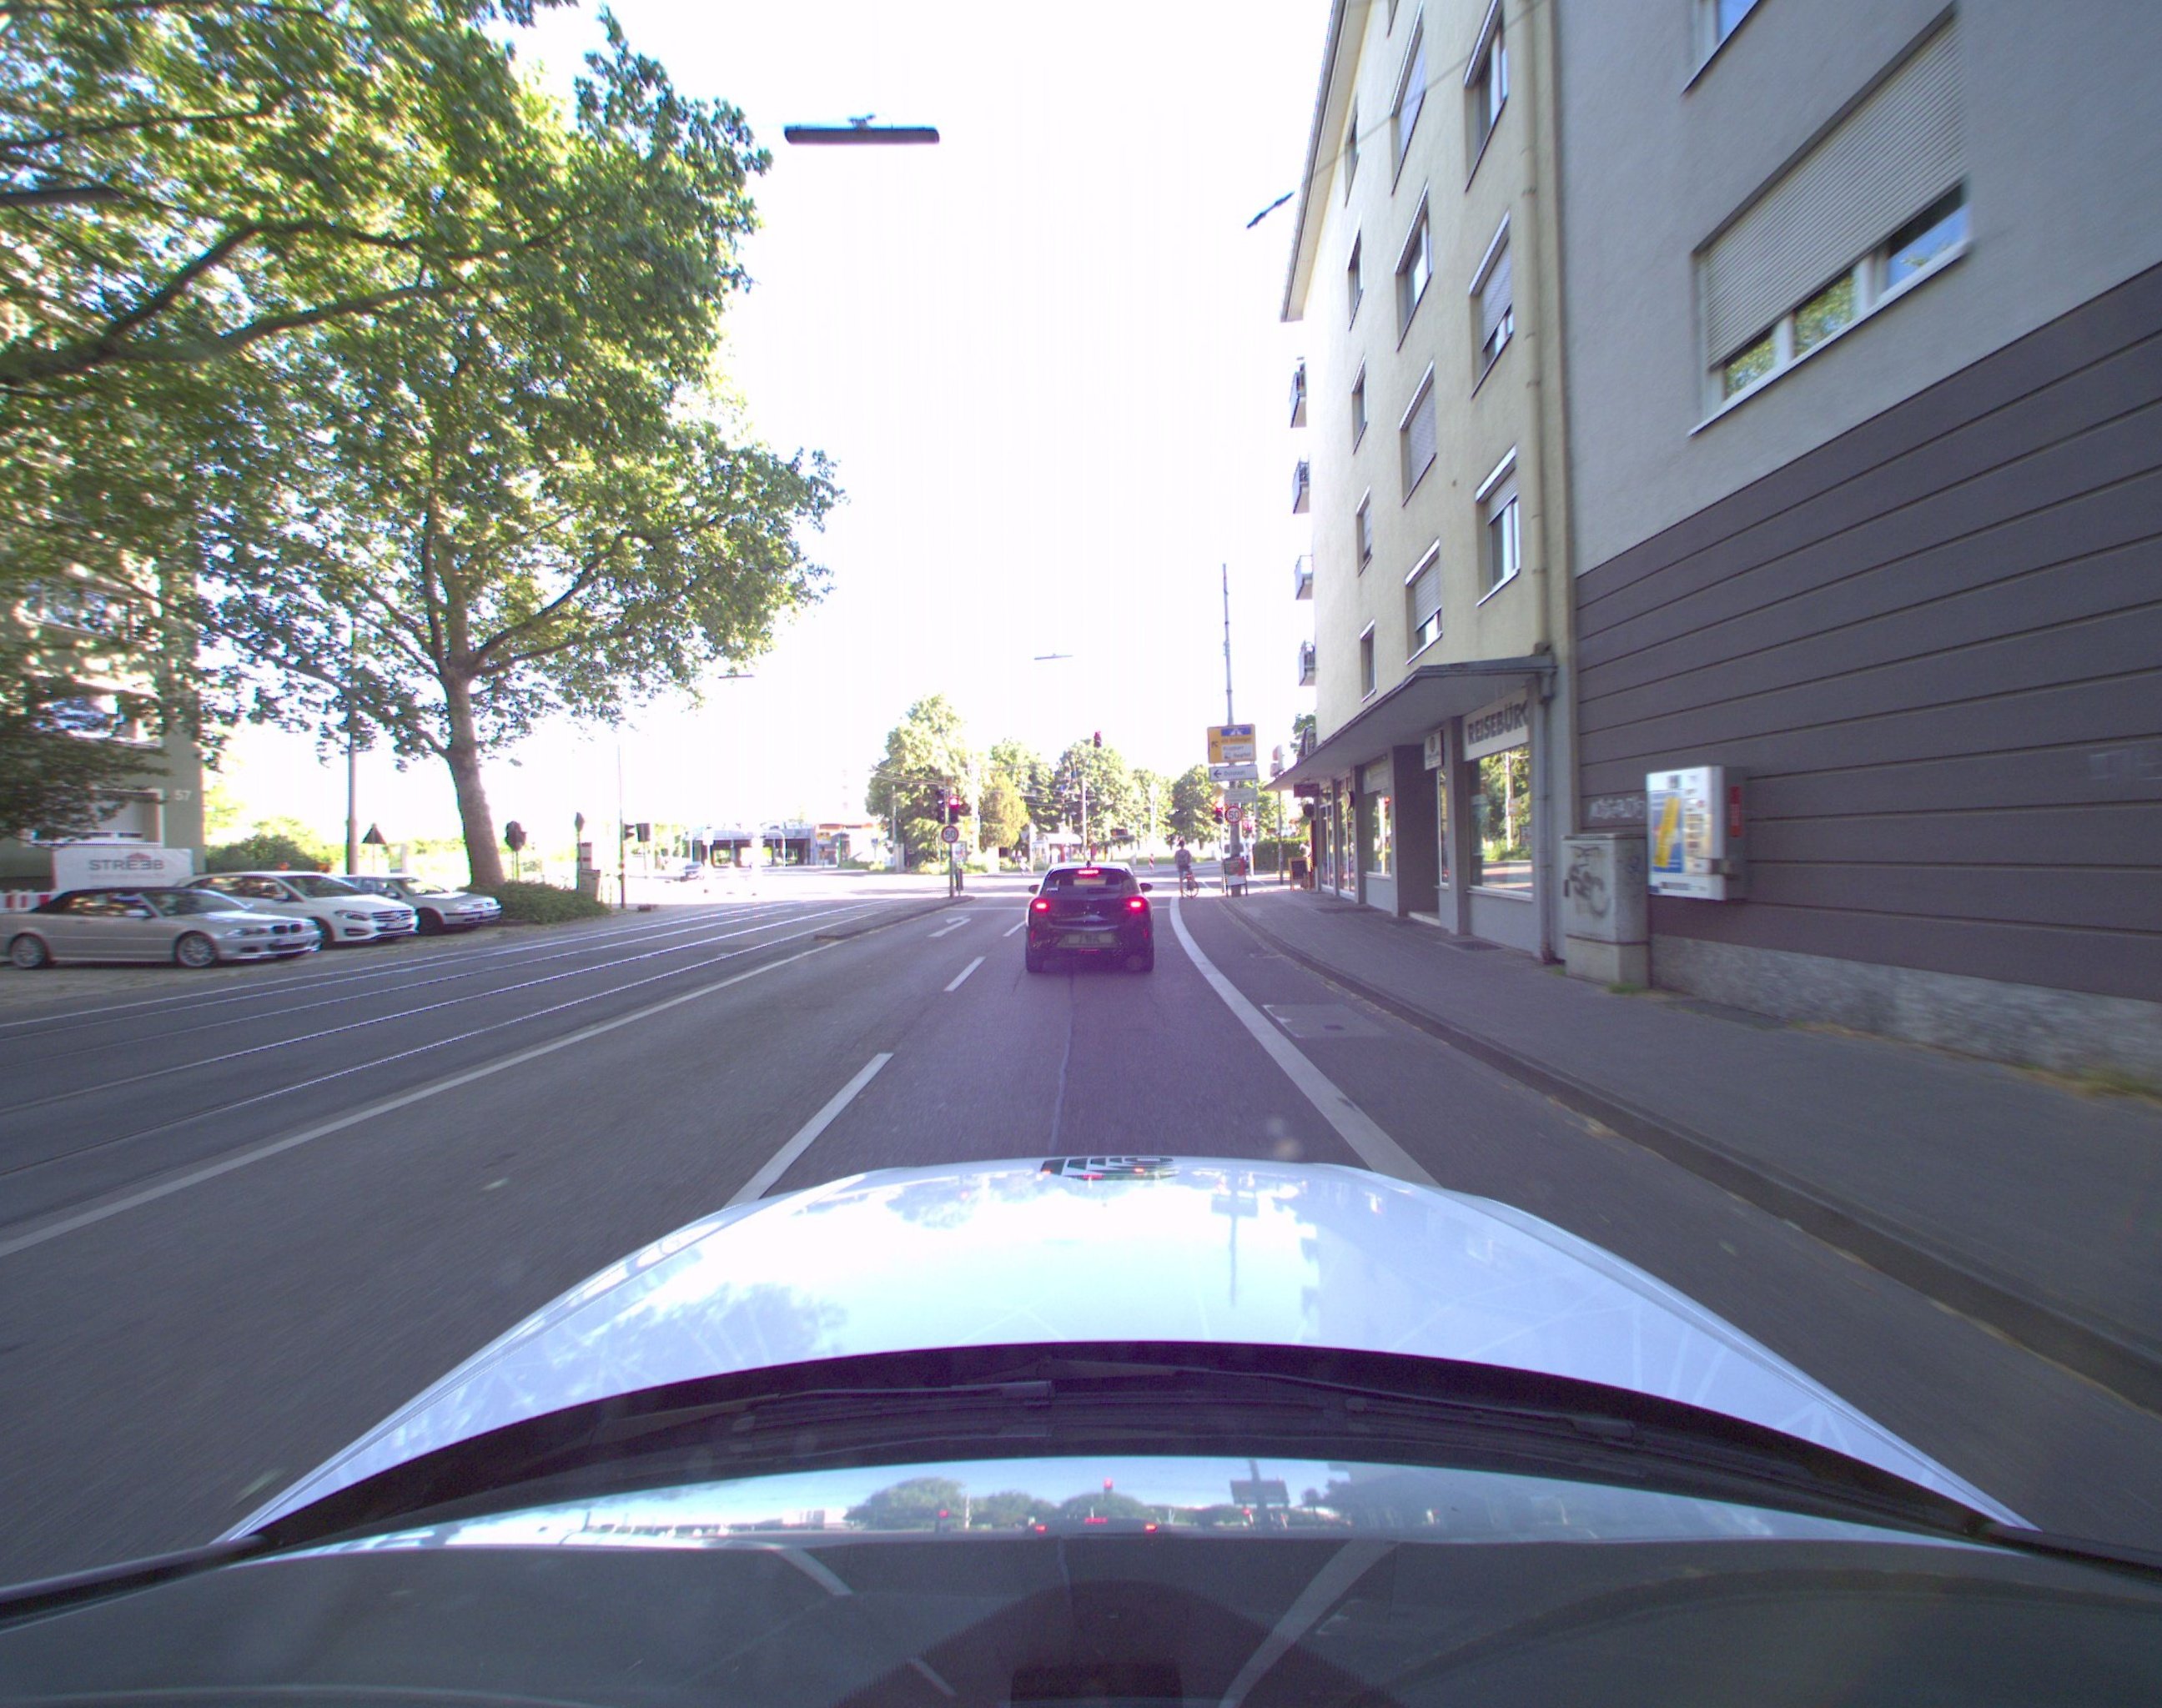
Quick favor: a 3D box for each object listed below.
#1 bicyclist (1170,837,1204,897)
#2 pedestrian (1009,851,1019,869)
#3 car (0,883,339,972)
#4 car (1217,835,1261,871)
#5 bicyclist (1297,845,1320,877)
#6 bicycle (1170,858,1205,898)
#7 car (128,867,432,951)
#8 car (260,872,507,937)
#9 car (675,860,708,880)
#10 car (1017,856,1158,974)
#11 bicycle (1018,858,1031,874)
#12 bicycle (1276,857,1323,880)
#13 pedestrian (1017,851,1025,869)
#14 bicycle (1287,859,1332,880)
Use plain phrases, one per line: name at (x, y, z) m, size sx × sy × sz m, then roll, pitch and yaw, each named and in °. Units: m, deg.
bicyclist at (3.369, 0.403, 25.947) m, size 0.938 × 1.851 × 0.864 m, roll -2°, pitch 0°, yaw 1°
pedestrian at (-6.027, 0.528, 73.005) m, size 0.746 × 1.630 × 0.599 m, roll 0°, pitch -1°, yaw 9°
car at (-15.963, 1.246, 14.321) m, size 4.227 × 1.368 × 1.728 m, roll 0°, pitch 0°, yaw 0°
car at (10.650, -0.081, 54.456) m, size 2.046 × 2.248 × 4.912 m, roll -2°, pitch 0°, yaw 20°
bicyclist at (11.208, 0.343, 40.105) m, size 1.003 × 1.570 × 0.802 m, roll -2°, pitch 0°, yaw 13°
bicycle at (3.383, 0.742, 25.982) m, size 0.857 × 1.153 × 2.173 m, roll -2°, pitch 0°, yaw 2°
car at (-16.631, 1.111, 17.070) m, size 4.593 × 1.618 × 1.799 m, roll 0°, pitch 0°, yaw 1°
car at (-16.635, 1.182, 19.574) m, size 4.496 × 1.429 × 1.676 m, roll 0°, pitch 0°, yaw 1°
car at (-30.728, 1.218, 64.392) m, size 1.830 × 1.519 × 3.870 m, roll 0°, pitch -1°, yaw -18°
car at (0.167, 0.762, 12.156) m, size 1.720 × 1.429 × 4.189 m, roll -1°, pitch 0°, yaw 2°
bicycle at (-3.799, 0.788, 54.885) m, size 0.603 × 1.031 × 1.983 m, roll -2°, pitch 0°, yaw 2°
bicycle at (11.114, 0.740, 41.469) m, size 2.276 × 1.084 × 0.804 m, roll -2°, pitch 0°, yaw 14°
pedestrian at (-5.358, 0.513, 72.877) m, size 0.633 × 1.630 × 0.573 m, roll 0°, pitch -1°, yaw 9°
bicycle at (11.236, 0.761, 40.088) m, size 2.044 × 0.984 × 0.675 m, roll -2°, pitch 0°, yaw 13°
